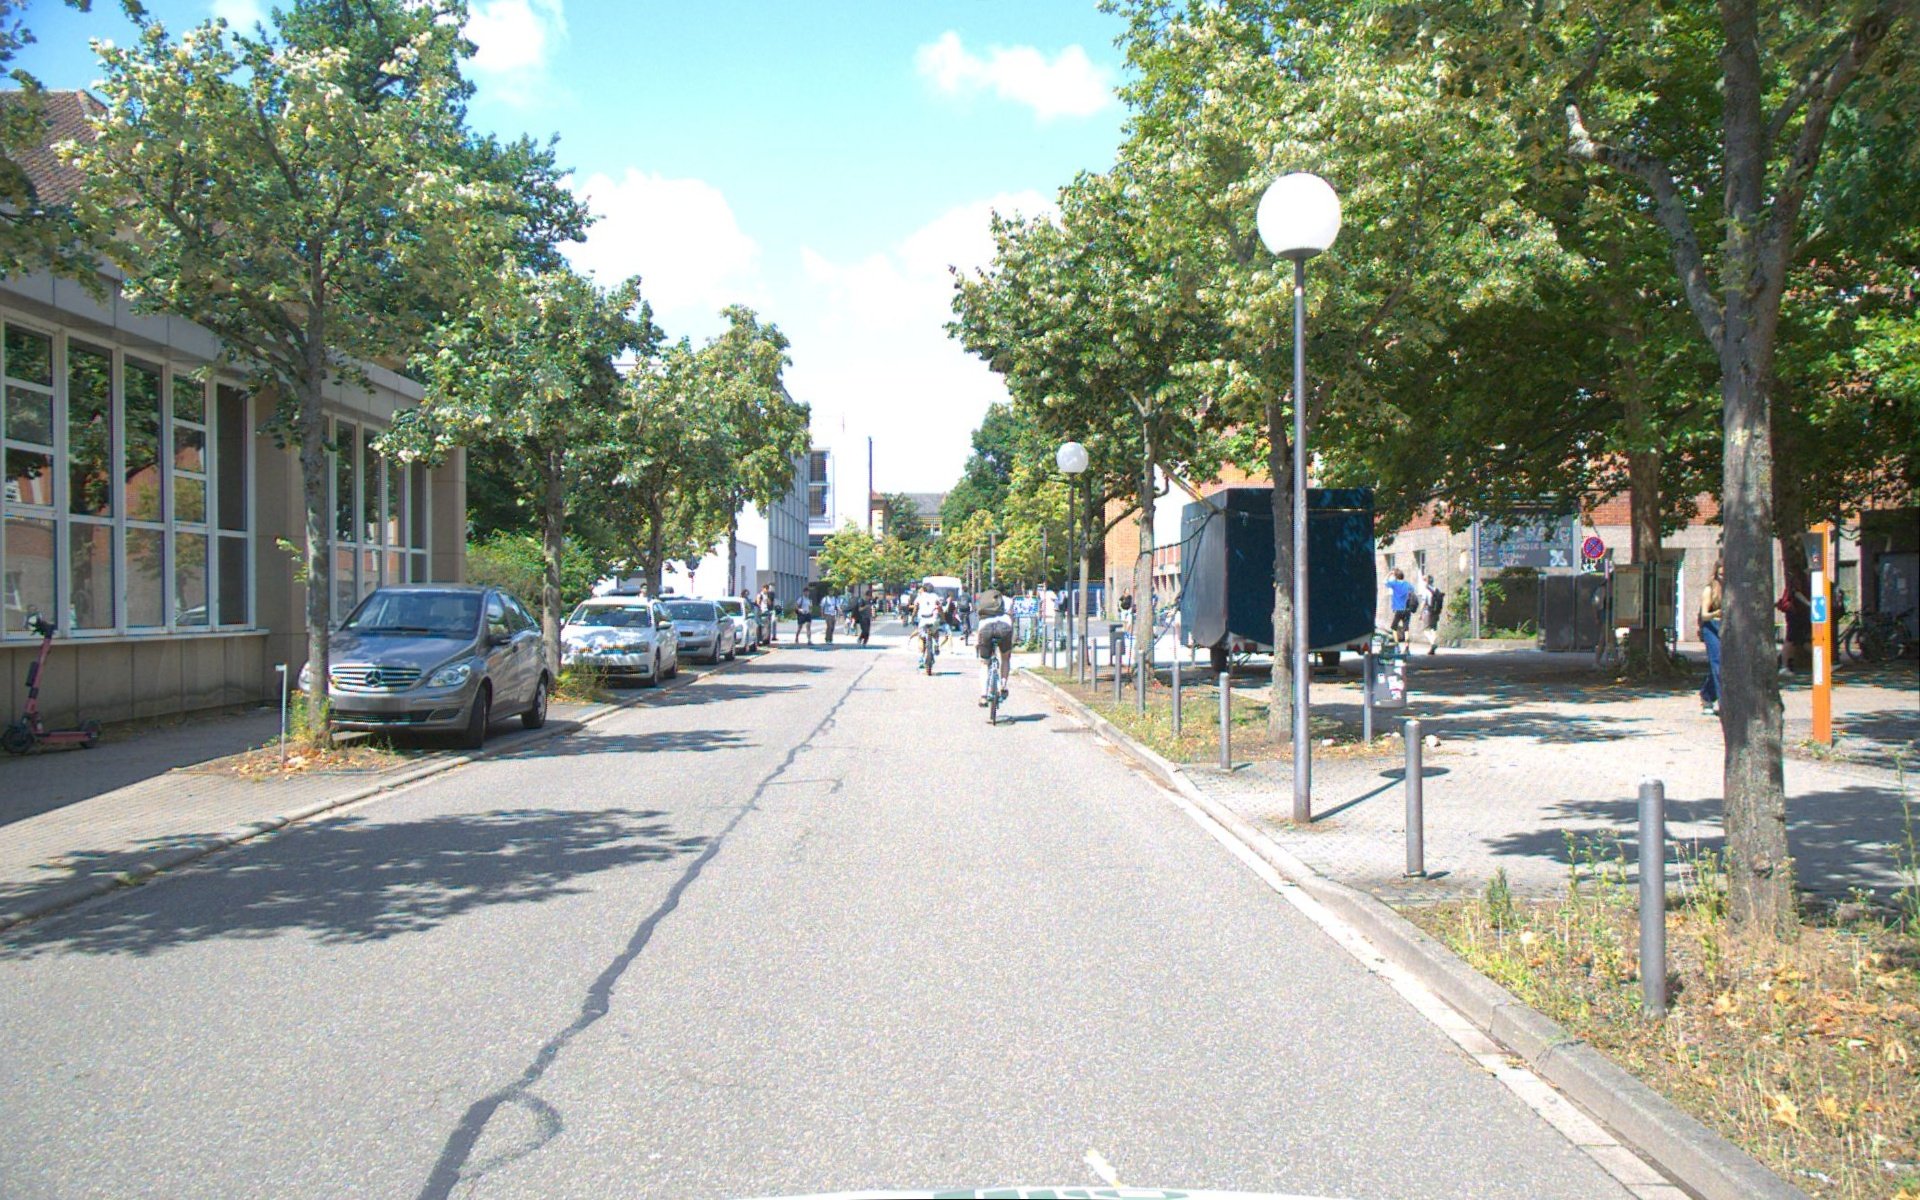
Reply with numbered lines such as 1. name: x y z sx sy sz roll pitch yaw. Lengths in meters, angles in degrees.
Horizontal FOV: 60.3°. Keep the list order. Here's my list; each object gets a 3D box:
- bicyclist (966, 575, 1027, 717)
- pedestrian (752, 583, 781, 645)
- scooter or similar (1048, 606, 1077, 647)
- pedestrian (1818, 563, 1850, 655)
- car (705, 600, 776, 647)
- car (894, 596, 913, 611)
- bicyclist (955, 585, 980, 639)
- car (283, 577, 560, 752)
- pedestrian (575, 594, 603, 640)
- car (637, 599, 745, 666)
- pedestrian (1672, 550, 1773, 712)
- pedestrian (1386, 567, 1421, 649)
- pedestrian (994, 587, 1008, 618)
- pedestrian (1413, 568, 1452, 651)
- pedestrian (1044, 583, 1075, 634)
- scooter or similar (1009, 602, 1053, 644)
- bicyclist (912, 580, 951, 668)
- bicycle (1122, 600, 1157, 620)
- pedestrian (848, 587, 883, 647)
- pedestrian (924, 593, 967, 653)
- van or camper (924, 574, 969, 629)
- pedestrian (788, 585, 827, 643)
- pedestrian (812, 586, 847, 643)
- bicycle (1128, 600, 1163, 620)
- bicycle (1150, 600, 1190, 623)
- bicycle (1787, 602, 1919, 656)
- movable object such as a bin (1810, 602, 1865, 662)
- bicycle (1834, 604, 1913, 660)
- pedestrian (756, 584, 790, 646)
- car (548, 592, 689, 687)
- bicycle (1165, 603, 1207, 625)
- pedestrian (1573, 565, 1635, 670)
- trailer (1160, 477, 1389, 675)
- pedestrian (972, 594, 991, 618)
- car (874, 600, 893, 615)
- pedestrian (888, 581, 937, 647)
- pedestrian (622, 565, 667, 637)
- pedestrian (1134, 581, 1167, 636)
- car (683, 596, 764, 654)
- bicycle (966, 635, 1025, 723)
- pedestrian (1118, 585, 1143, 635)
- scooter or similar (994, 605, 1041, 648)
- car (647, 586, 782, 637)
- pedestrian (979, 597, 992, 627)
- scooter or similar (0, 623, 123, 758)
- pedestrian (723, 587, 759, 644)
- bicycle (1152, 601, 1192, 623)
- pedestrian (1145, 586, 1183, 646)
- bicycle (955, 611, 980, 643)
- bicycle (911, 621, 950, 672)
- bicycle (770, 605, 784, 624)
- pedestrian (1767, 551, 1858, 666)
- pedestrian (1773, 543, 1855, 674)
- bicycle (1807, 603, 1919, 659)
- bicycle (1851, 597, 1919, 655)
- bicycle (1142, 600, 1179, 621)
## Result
1. bicyclist: 0.452 0.558 20.471 0.702 1.691 1.095 1 0 2
2. pedestrian: -6.339 0.459 54.069 0.610 2.015 0.819 -1 -2 -32
3. scooter or similar: 3.062 0.780 49.492 0.635 1.180 1.265 -1 0 14
4. pedestrian: 18.417 0.182 34.864 0.438 1.916 0.530 0 0 9
5. car: -6.553 0.689 49.693 1.611 1.323 3.927 -1 0 0
6. car: -6.195 0.351 181.366 1.758 1.557 4.001 -1 0 3
7. bicyclist: 0.249 0.397 54.484 0.792 1.787 0.692 0 -1 -1
8. car: -5.502 0.608 17.440 1.722 1.583 4.111 2 0 -3
9. pedestrian: -14.702 0.671 65.546 0.962 1.817 0.668 0 -1 -1
10. car: -6.010 0.691 37.346 1.690 1.367 4.165 2 0 0
11. pedestrian: 7.783 0.310 16.914 0.557 1.599 0.927 -2 0 -1
12. pedestrian: 10.023 0.179 37.385 0.583 1.828 0.406 -3 2 -5
13. pedestrian: 2.529 0.140 102.576 0.774 1.892 1.026 -1 0 0
14. pedestrian: 10.772 0.207 37.707 0.583 1.828 0.727 -3 2 -5
15. pedestrian: 3.490 0.280 58.002 0.938 1.724 0.705 2 2 9
16. scooter or similar: 2.230 0.719 51.839 1.237 1.287 0.638 -1 0 31
17. bicyclist: -0.592 0.496 34.488 0.755 1.787 0.848 2 0 -1
18. bicycle: 9.626 0.517 88.593 1.773 1.002 0.560 -2 0 -2
19. pedestrian: -2.879 0.512 50.322 0.692 1.750 0.987 4 -2 -23
20. pedestrian: -0.401 0.643 46.421 0.844 1.623 0.817 -2 1 -44
21. van or camper: -0.603 0.091 78.708 1.952 2.488 4.570 -1 -1 1
22. pedestrian: -4.752 0.446 51.447 0.965 1.769 0.697 1 -1 39
23. pedestrian: -4.102 0.456 52.072 0.891 1.769 0.676 0 0 37
24. bicycle: 9.765 0.522 87.062 1.773 1.002 0.560 -2 0 -2
25. bicycle: 9.911 0.551 77.960 1.773 1.002 0.560 -2 0 -2
26. bicycle: 18.460 0.601 34.124 2.345 1.090 0.783 -1 -1 12
27. movable object such as a bin: 16.071 0.593 30.305 0.587 1.090 0.742 0 -2 -1
28. bicycle: 19.762 0.678 35.836 0.562 1.160 2.026 0 0 -1
29. pedestrian: -6.220 0.497 55.111 0.809 2.014 0.691 3 1 23
30. car: -5.841 0.644 28.809 1.691 1.482 4.580 2 0 -3
31. bicycle: 10.122 0.614 74.242 1.773 0.928 0.560 -2 0 -2
32. pedestrian: 10.675 0.288 27.425 0.683 1.690 0.788 -1 0 -1
33. trailer: 5.442 -0.391 29.717 2.638 3.105 6.254 -2 0 -2
34. pedestrian: 1.858 0.511 144.530 1.470 2.031 1.645 -3 1 -3
35. car: -8.387 0.829 181.606 1.758 1.557 4.001 -1 0 3
36. pedestrian: -1.399 0.411 48.933 1.095 1.892 0.850 -2 1 39
37. pedestrian: -8.048 0.036 42.160 0.699 1.746 1.099 7 -5 -25
38. pedestrian: 6.536 0.283 56.781 0.700 1.818 0.746 -6 3 -27
39. car: -6.172 0.618 43.499 1.628 1.436 3.806 1 0 -2
40. bicycle: 0.448 0.955 20.623 0.692 1.010 1.911 -1 0 2
41. pedestrian: 5.814 0.335 56.421 0.496 1.658 0.566 -6 3 -27
42. scooter or similar: 1.744 0.792 50.181 1.237 1.287 0.649 -1 0 31
43. car: -8.930 0.409 60.195 4.410 1.647 1.925 2 -1 14
44. pedestrian: 1.630 0.751 104.421 0.774 1.892 1.026 -1 0 0
45. scooter or similar: -8.429 0.828 15.537 0.495 1.189 1.215 1 0 -1
46. pedestrian: -7.198 0.504 54.448 0.785 1.803 0.854 3 1 23
47. bicycle: 9.897 0.557 77.325 1.773 1.002 0.560 -2 0 -2
48. pedestrian: 5.922 0.444 47.984 0.858 1.666 0.949 -4 0 -1
49. bicycle: 0.254 0.874 54.473 0.792 1.020 2.123 0 -1 0
50. bicycle: -0.614 0.966 34.356 0.792 1.020 2.123 0 -2 -1
51. bicycle: -10.264 0.807 92.928 0.512 1.002 1.633 -2 0 3
52. pedestrian: 13.789 0.126 26.764 0.940 1.806 0.917 -1 1 -9
53. pedestrian: 12.695 0.125 24.606 0.749 1.887 0.824 -1 0 -1
54. bicycle: 18.401 0.621 33.209 2.345 1.090 0.783 -1 -1 6
55. bicycle: 18.681 0.512 32.060 2.345 1.090 0.783 1 -1 11
56. bicycle: 10.242 0.516 84.537 1.773 1.002 0.560 -2 0 -2
